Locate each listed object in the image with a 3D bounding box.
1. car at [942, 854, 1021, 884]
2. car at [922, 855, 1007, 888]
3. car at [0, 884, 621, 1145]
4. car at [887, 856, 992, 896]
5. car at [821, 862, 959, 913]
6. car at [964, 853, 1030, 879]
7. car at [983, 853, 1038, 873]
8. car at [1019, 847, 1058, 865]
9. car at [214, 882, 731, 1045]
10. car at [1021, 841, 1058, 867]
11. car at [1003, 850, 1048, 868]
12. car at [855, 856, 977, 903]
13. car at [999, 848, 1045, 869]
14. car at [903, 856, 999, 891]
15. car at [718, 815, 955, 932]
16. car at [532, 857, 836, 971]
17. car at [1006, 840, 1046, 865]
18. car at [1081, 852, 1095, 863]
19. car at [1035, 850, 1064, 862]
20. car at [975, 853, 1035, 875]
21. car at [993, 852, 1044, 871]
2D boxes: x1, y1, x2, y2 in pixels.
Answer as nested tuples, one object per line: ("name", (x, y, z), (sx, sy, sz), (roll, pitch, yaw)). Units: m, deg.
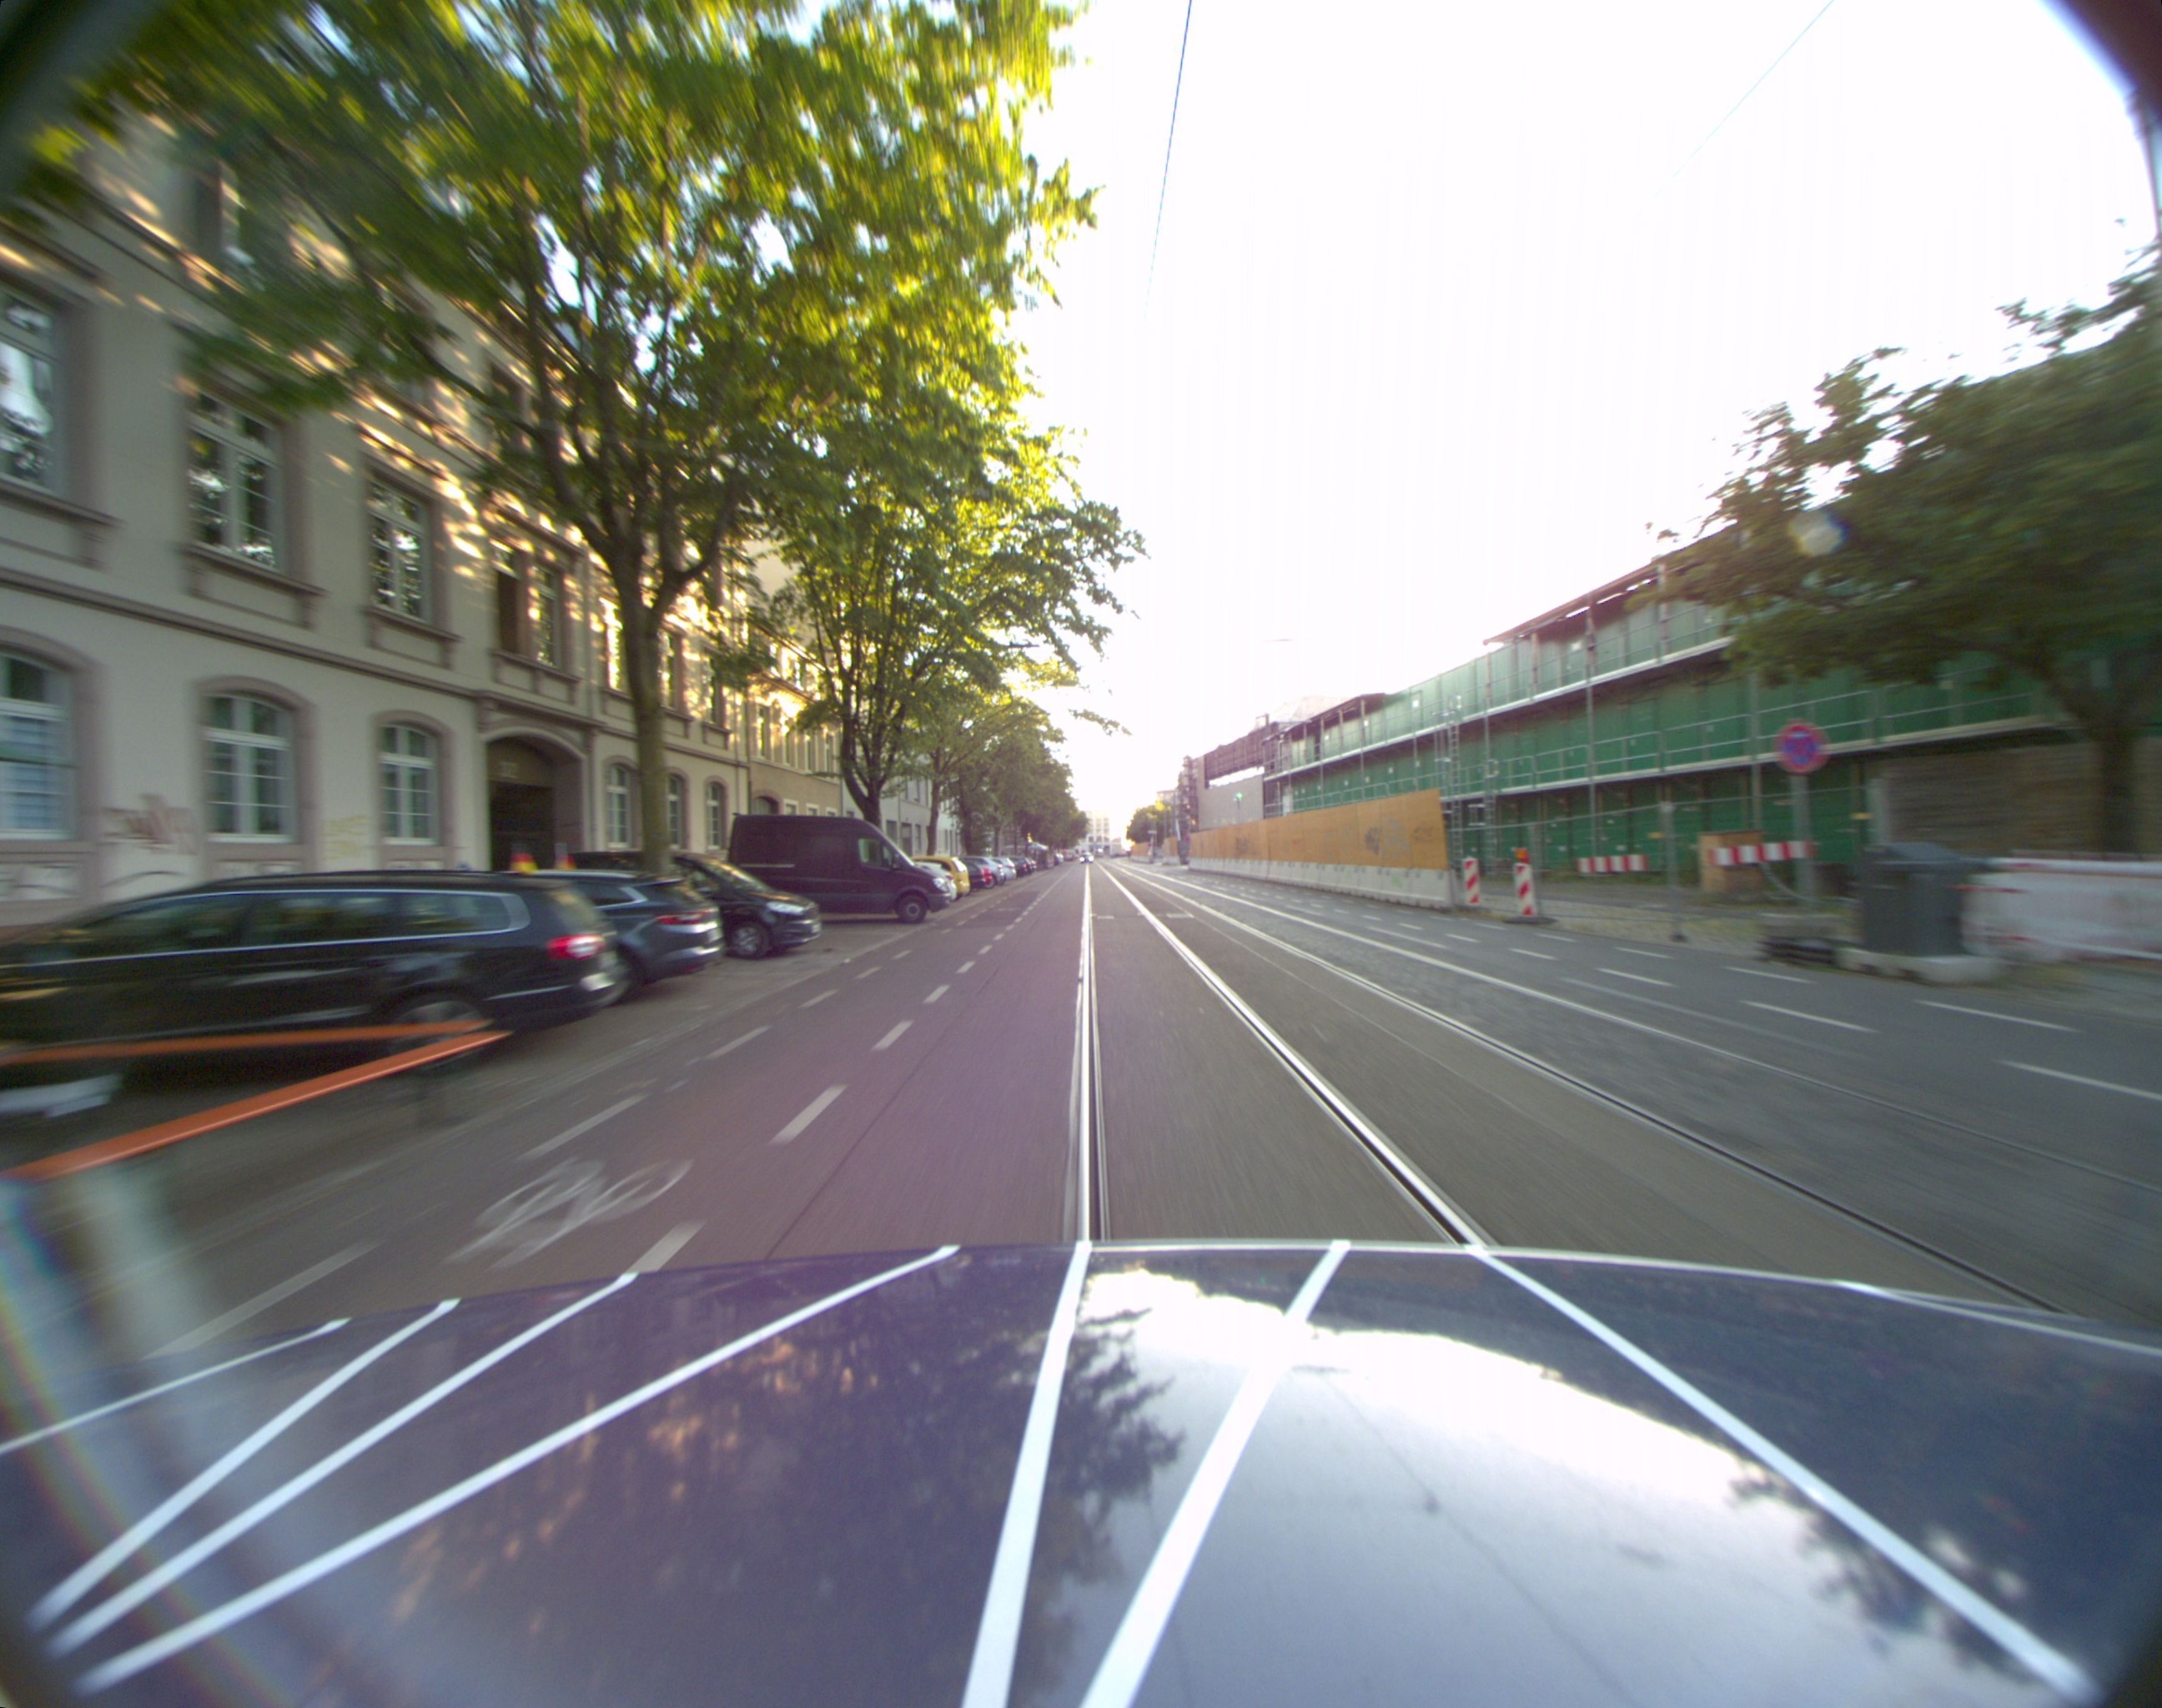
("car", (-5.347, 0.798, 40.565), (3.997, 1.566, 1.720), (0, 0, -14))
("car", (-5.648, 0.838, 36.809), (3.996, 1.566, 1.720), (0, 0, -11))
("car", (-6.312, 1.039, 5.783), (4.643, 1.508, 1.807), (0, -1, -26))
("car", (-5.795, 0.900, 31.405), (3.991, 1.566, 1.722), (0, 0, 2))
("car", (-5.910, 0.984, 23.534), (3.998, 1.476, 1.719), (0, -1, -17))
("car", (-5.382, 0.765, 48.654), (3.997, 1.566, 1.720), (0, 0, -14))
("car", (-5.421, 0.690, 58.451), (3.997, 1.566, 1.720), (0, 0, -14))
("car", (-4.690, 0.222, 83.438), (3.997, 1.952, 1.720), (0, 0, -14))
("car", (-6.333, 1.071, 8.496), (4.121, 1.444, 1.808), (0, -1, -15))
("car", (-4.716, 0.009, 86.147), (3.997, 2.811, 1.720), (0, 0, -14))
("car", (-5.350, 0.474, 73.009), (3.997, 1.759, 1.720), (0, 0, -14))
("car", (-5.866, 0.902, 27.309), (3.991, 1.589, 1.722), (0, 0, 2))
("car", (-5.399, 0.403, 69.309), (3.997, 1.829, 1.720), (0, 0, -14))
("car", (-5.835, 0.872, 34.356), (3.991, 1.566, 1.722), (0, 0, 2))
("car", (-5.847, 0.433, 18.654), (5.236, 2.605, 1.925), (0, 1, -16))
("car", (-6.235, 0.905, 12.273), (3.992, 1.689, 1.722), (0, 0, -1))
("car", (-5.684, -0.180, 79.311), (3.991, 2.551, 1.722), (0, 0, 1))
("car", (1.119, 0.545, 115.584), (1.998, 1.674, 4.000), (-2, 0, 1))
("car", (-4.404, 0.333, 107.971), (3.991, 1.681, 1.722), (0, 0, 1))
("car", (-5.349, 0.697, 53.497), (3.997, 1.566, 1.720), (0, 0, -14))
("car", (-5.247, 0.600, 63.257), (3.997, 1.566, 1.720), (0, 0, -14))
